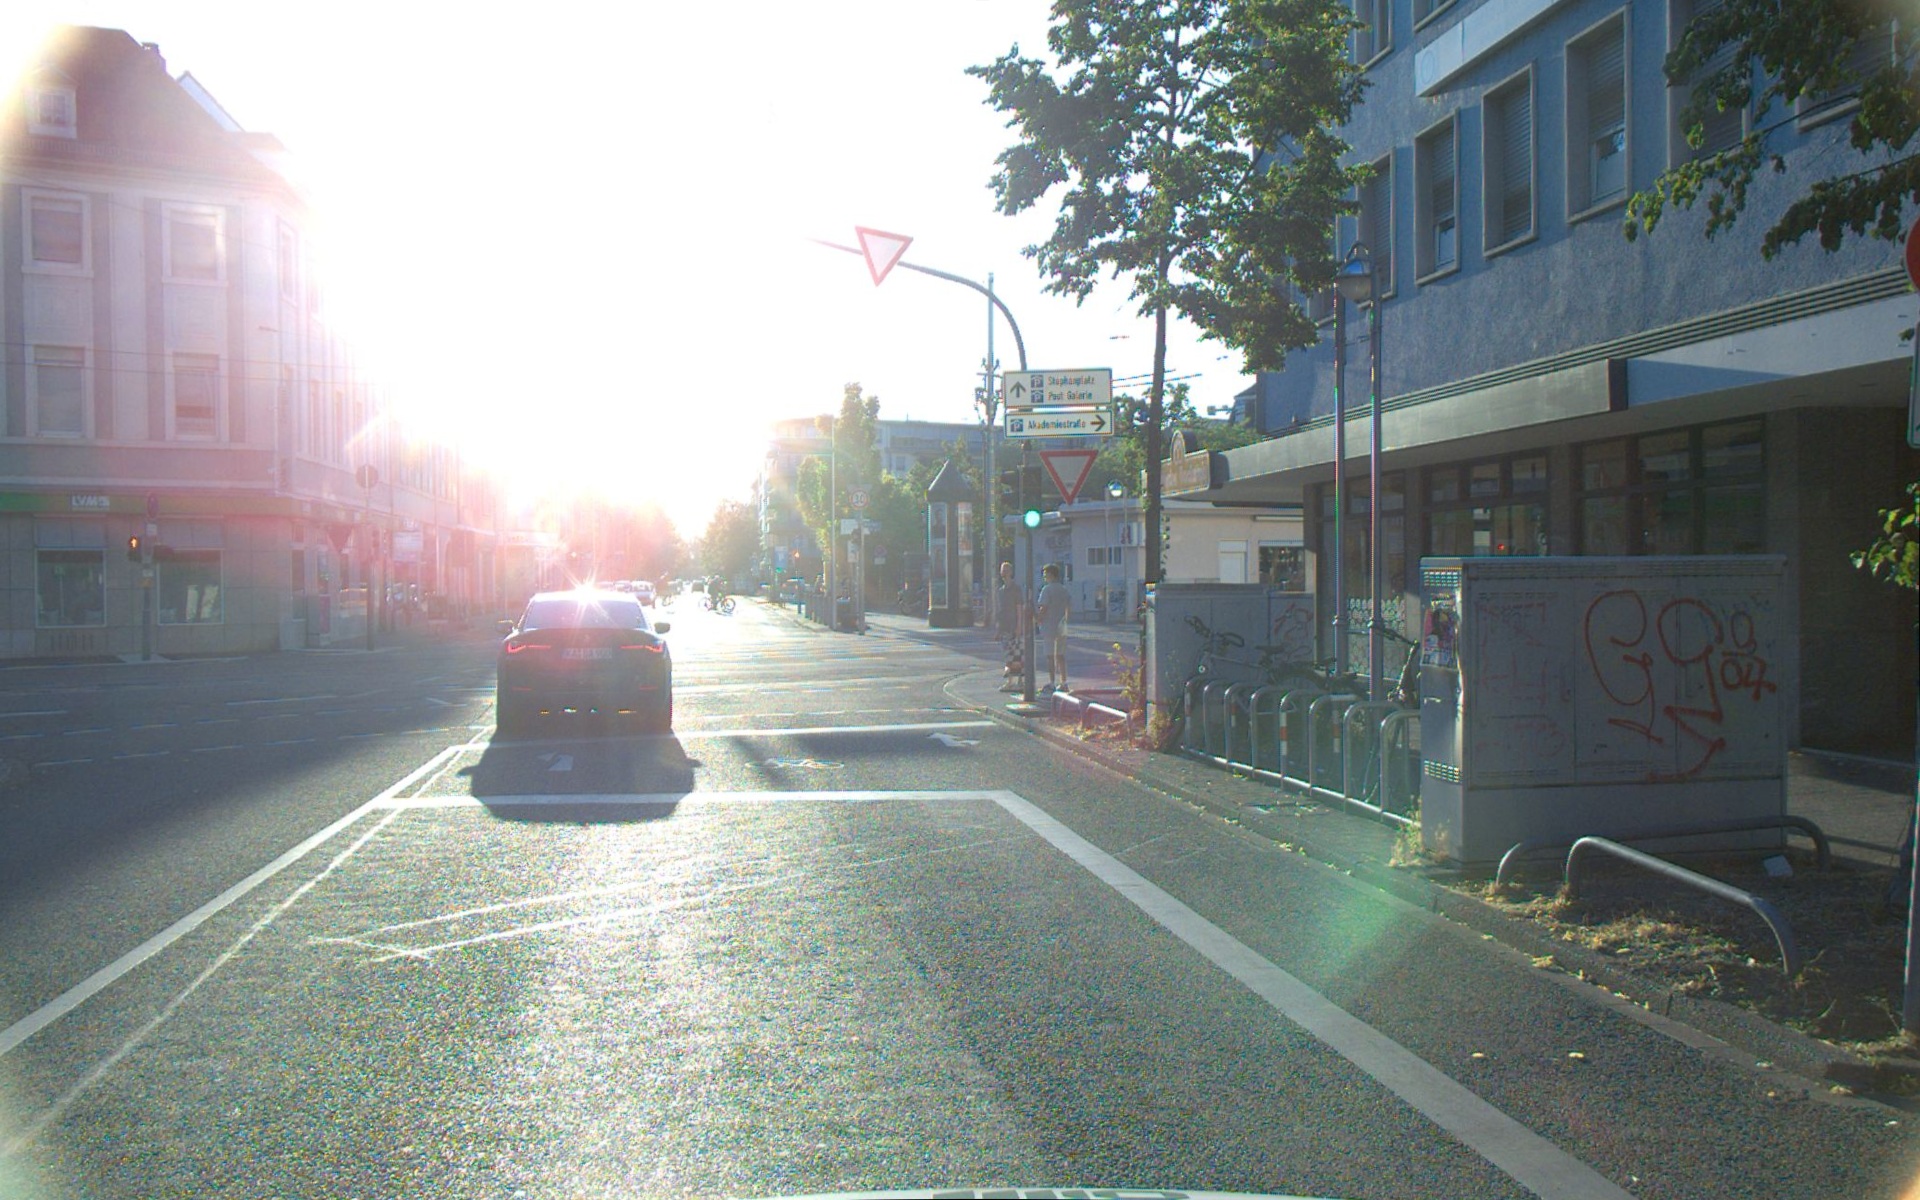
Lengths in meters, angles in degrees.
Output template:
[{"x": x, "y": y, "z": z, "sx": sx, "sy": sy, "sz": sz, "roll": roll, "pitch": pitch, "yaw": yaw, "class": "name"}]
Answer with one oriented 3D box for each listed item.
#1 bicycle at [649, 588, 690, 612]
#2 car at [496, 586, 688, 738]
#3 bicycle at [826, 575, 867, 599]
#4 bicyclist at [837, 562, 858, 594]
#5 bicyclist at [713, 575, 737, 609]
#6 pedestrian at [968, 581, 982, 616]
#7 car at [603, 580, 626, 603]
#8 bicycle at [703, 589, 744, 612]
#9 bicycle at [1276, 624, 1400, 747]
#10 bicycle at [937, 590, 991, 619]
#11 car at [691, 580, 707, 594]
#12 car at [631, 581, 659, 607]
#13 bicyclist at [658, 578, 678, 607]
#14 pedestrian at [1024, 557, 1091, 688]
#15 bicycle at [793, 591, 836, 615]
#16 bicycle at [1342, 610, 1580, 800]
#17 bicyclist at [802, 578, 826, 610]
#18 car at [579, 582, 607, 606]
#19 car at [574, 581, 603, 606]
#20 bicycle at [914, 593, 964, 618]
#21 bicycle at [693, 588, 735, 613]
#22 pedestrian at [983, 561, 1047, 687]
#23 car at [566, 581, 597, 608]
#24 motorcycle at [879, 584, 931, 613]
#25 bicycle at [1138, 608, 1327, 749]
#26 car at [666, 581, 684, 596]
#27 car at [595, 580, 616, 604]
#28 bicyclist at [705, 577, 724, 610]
[{"x": -15.196, "y": -0.001, "z": 86.556, "sx": 2.074, "sy": 1.225, "sz": 0.500, "roll": 1, "pitch": -1, "yaw": 0, "class": "bicycle"}, {"x": -4.194, "y": 0.629, "z": 18.842, "sx": 1.858, "sy": 1.506, "sz": 4.527, "roll": 1, "pitch": 0, "yaw": -13, "class": "car"}, {"x": -5.887, "y": -0.667, "z": 85.926, "sx": 2.072, "sy": 1.225, "sz": 0.500, "roll": 1, "pitch": -1, "yaw": 6, "class": "bicycle"}, {"x": -5.842, "y": -1.155, "z": 85.931, "sx": 0.939, "sy": 1.629, "sz": 0.647, "roll": 1, "pitch": -1, "yaw": 6, "class": "bicyclist"}, {"x": -12.619, "y": -0.432, "z": 88.817, "sx": 1.106, "sy": 1.822, "sz": 0.765, "roll": 1, "pitch": -1, "yaw": 0, "class": "bicyclist"}, {"x": 0.727, "y": -0.088, "z": 81.149, "sx": 0.667, "sy": 1.686, "sz": 0.695, "roll": 1, "pitch": -1, "yaw": -1, "class": "pedestrian"}, {"x": -24.466, "y": -0.603, "z": 117.232, "sx": 1.456, "sy": 1.586, "sz": 3.251, "roll": 0, "pitch": 0, "yaw": -10, "class": "car"}, {"x": -12.698, "y": 0.025, "z": 88.832, "sx": 2.074, "sy": 1.225, "sz": 0.500, "roll": 1, "pitch": -1, "yaw": -1, "class": "bicycle"}, {"x": 3.524, "y": 0.772, "z": 15.557, "sx": 0.396, "sy": 1.028, "sz": 1.664, "roll": -2, "pitch": 1, "yaw": -14, "class": "bicycle"}, {"x": 0.148, "y": 0.178, "z": 61.769, "sx": 1.979, "sy": 1.062, "sz": 0.560, "roll": -1, "pitch": 0, "yaw": -1, "class": "bicycle"}, {"x": -34.874, "y": -1.751, "z": 221.375, "sx": 1.956, "sy": 1.847, "sz": 3.994, "roll": 1, "pitch": 0, "yaw": -7, "class": "car"}, {"x": -18.350, "y": -0.317, "z": 96.468, "sx": 1.517, "sy": 1.493, "sz": 3.344, "roll": 0, "pitch": 0, "yaw": -10, "class": "car"}, {"x": -15.279, "y": -0.369, "z": 86.561, "sx": 0.880, "sy": 1.507, "sz": 0.735, "roll": 1, "pitch": -1, "yaw": 0, "class": "bicyclist"}, {"x": 1.374, "y": 0.310, "z": 23.403, "sx": 0.630, "sy": 1.804, "sz": 0.742, "roll": -1, "pitch": 0, "yaw": -30, "class": "pedestrian"}, {"x": -7.424, "y": 0.149, "z": 84.370, "sx": 2.073, "sy": 1.225, "sz": 0.500, "roll": 1, "pitch": -1, "yaw": 2, "class": "bicycle"}, {"x": 3.460, "y": 0.692, "z": 11.396, "sx": 1.633, "sy": 1.215, "sz": 0.490, "roll": -1, "pitch": 1, "yaw": -22, "class": "bicycle"}, {"x": -7.436, "y": -0.298, "z": 84.377, "sx": 1.106, "sy": 1.629, "sz": 0.702, "roll": 1, "pitch": -1, "yaw": 2, "class": "bicyclist"}, {"x": -23.235, "y": -0.404, "z": 104.797, "sx": 1.517, "sy": 1.494, "sz": 3.344, "roll": 0, "pitch": 0, "yaw": -10, "class": "car"}, {"x": -22.402, "y": -0.365, "z": 99.898, "sx": 1.517, "sy": 1.495, "sz": 3.344, "roll": 0, "pitch": 0, "yaw": -10, "class": "car"}, {"x": -0.856, "y": 0.235, "z": 67.442, "sx": 2.035, "sy": 0.999, "sz": 0.560, "roll": -1, "pitch": 0, "yaw": -1, "class": "bicycle"}, {"x": -12.456, "y": 0.049, "z": 83.771, "sx": 2.074, "sy": 1.225, "sz": 0.500, "roll": 1, "pitch": -1, "yaw": -1, "class": "bicycle"}, {"x": 0.805, "y": 0.340, "z": 24.267, "sx": 0.581, "sy": 1.804, "sz": 0.739, "roll": -1, "pitch": 0, "yaw": -40, "class": "pedestrian"}, {"x": -22.023, "y": -0.323, "z": 96.276, "sx": 1.517, "sy": 1.509, "sz": 3.344, "roll": -1, "pitch": 1, "yaw": -10, "class": "car"}, {"x": -2.355, "y": -0.058, "z": 70.442, "sx": 2.190, "sy": 1.222, "sz": 0.720, "roll": -1, "pitch": 1, "yaw": -4, "class": "motorcycle"}, {"x": 2.446, "y": 0.687, "z": 14.855, "sx": 1.629, "sy": 1.215, "sz": 0.475, "roll": 0, "pitch": 1, "yaw": -15, "class": "bicycle"}, {"x": -33.326, "y": -1.329, "z": 193.465, "sx": 1.956, "sy": 1.713, "sz": 3.994, "roll": -1, "pitch": 1, "yaw": -7, "class": "car"}, {"x": -23.869, "y": -0.546, "z": 111.475, "sx": 1.283, "sy": 1.610, "sz": 2.882, "roll": 0, "pitch": 0, "yaw": -10, "class": "car"}, {"x": -12.450, "y": -0.331, "z": 83.779, "sx": 0.833, "sy": 1.687, "sz": 0.676, "roll": 1, "pitch": -1, "yaw": 0, "class": "bicyclist"}]
